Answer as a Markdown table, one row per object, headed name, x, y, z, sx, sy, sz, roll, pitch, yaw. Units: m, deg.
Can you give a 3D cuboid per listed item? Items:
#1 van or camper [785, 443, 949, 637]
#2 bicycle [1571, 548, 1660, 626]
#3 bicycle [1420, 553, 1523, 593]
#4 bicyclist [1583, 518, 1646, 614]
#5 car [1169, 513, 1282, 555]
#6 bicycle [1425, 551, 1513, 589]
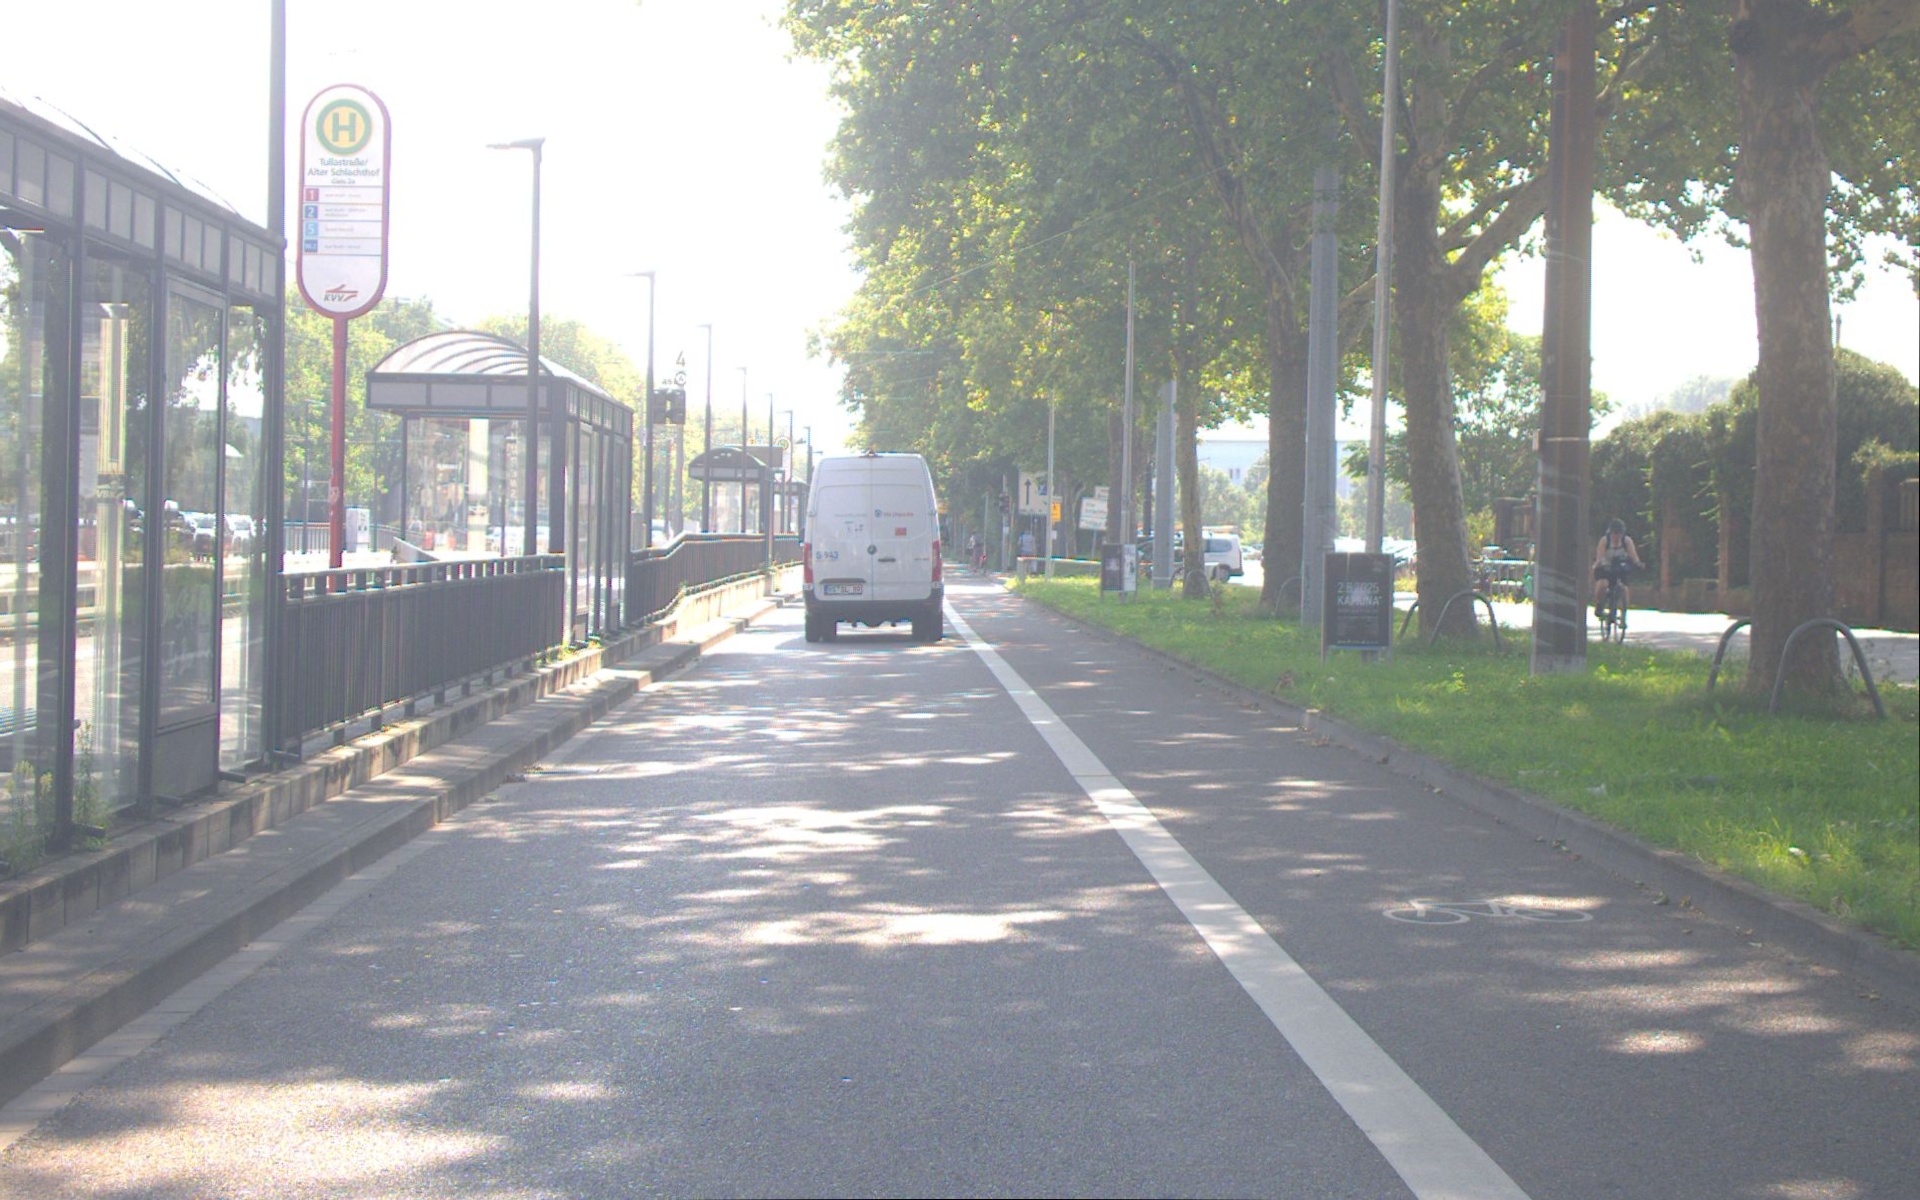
| name | x | y | z | sx | sy | sz | roll | pitch | yaw |
| --- | --- | --- | --- | --- | --- | --- | --- | --- | --- |
| van or camper | -1.420 | -0.890 | 50.275 | 2.115 | 2.673 | 5.251 | 0 | 1 | -5 |
| bicycle | 8.767 | -0.184 | 46.057 | 0.681 | 1.001 | 2.218 | 0 | 1 | -2 |
| bicycle | 11.273 | -0.598 | 75.811 | 2.180 | 0.844 | 0.503 | 0 | 1 | -1 |
| bicyclist | 8.779 | -0.457 | 46.100 | 0.669 | 1.272 | 0.728 | 0 | 1 | -2 |
| car | 9.931 | -2.462 | 128.973 | 3.987 | 1.371 | 2.000 | 3 | 0 | -1 |
| bicycle | 11.664 | -0.678 | 78.773 | 1.932 | 0.844 | 0.372 | 1 | 1 | -1 |
